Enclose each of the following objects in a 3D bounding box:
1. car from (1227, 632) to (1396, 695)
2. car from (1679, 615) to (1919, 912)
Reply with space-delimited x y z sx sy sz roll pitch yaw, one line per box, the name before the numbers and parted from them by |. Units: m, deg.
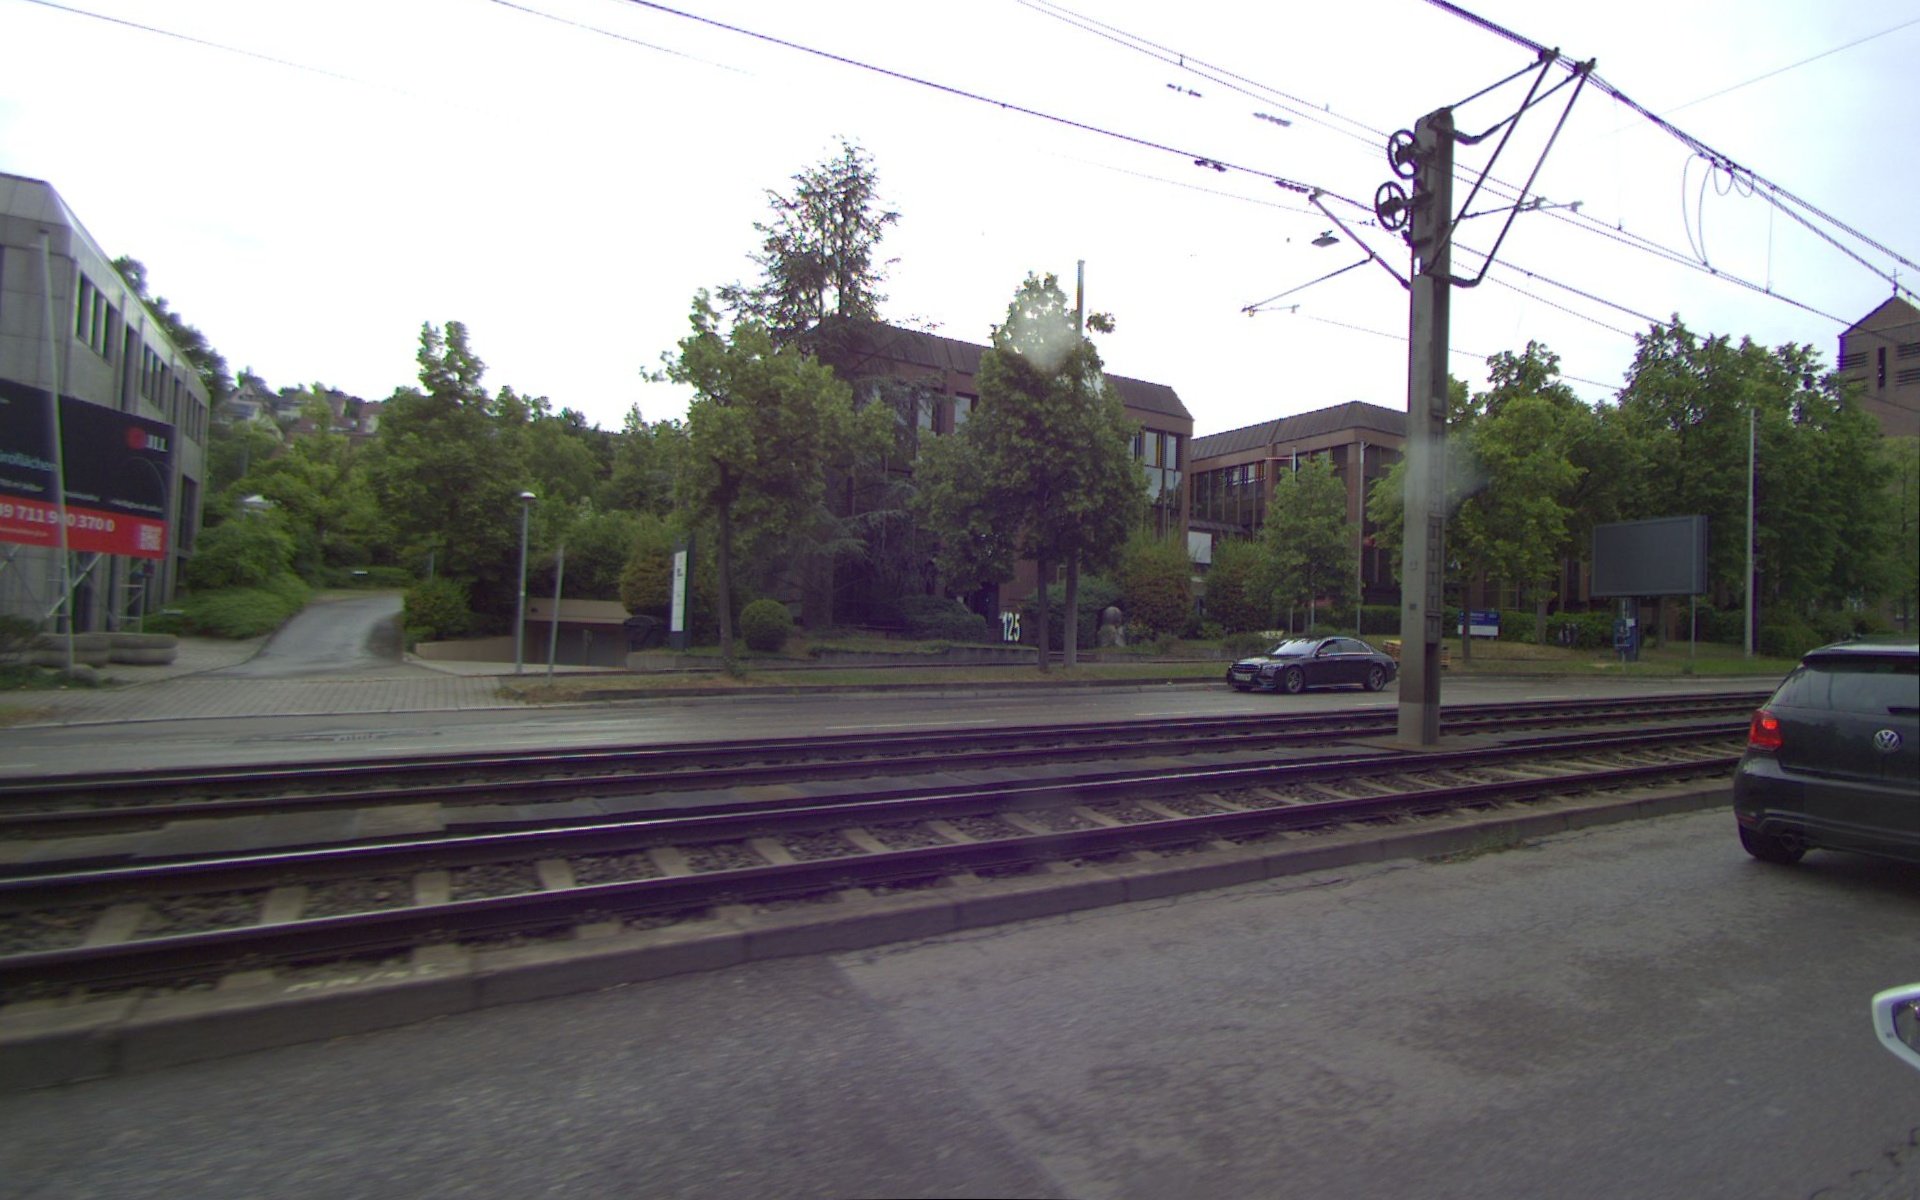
car | 9.391 1.640 26.748 4.569 1.550 1.785 1 -2 -31
car | 6.527 0.884 6.380 3.919 1.505 1.785 1 0 -31
